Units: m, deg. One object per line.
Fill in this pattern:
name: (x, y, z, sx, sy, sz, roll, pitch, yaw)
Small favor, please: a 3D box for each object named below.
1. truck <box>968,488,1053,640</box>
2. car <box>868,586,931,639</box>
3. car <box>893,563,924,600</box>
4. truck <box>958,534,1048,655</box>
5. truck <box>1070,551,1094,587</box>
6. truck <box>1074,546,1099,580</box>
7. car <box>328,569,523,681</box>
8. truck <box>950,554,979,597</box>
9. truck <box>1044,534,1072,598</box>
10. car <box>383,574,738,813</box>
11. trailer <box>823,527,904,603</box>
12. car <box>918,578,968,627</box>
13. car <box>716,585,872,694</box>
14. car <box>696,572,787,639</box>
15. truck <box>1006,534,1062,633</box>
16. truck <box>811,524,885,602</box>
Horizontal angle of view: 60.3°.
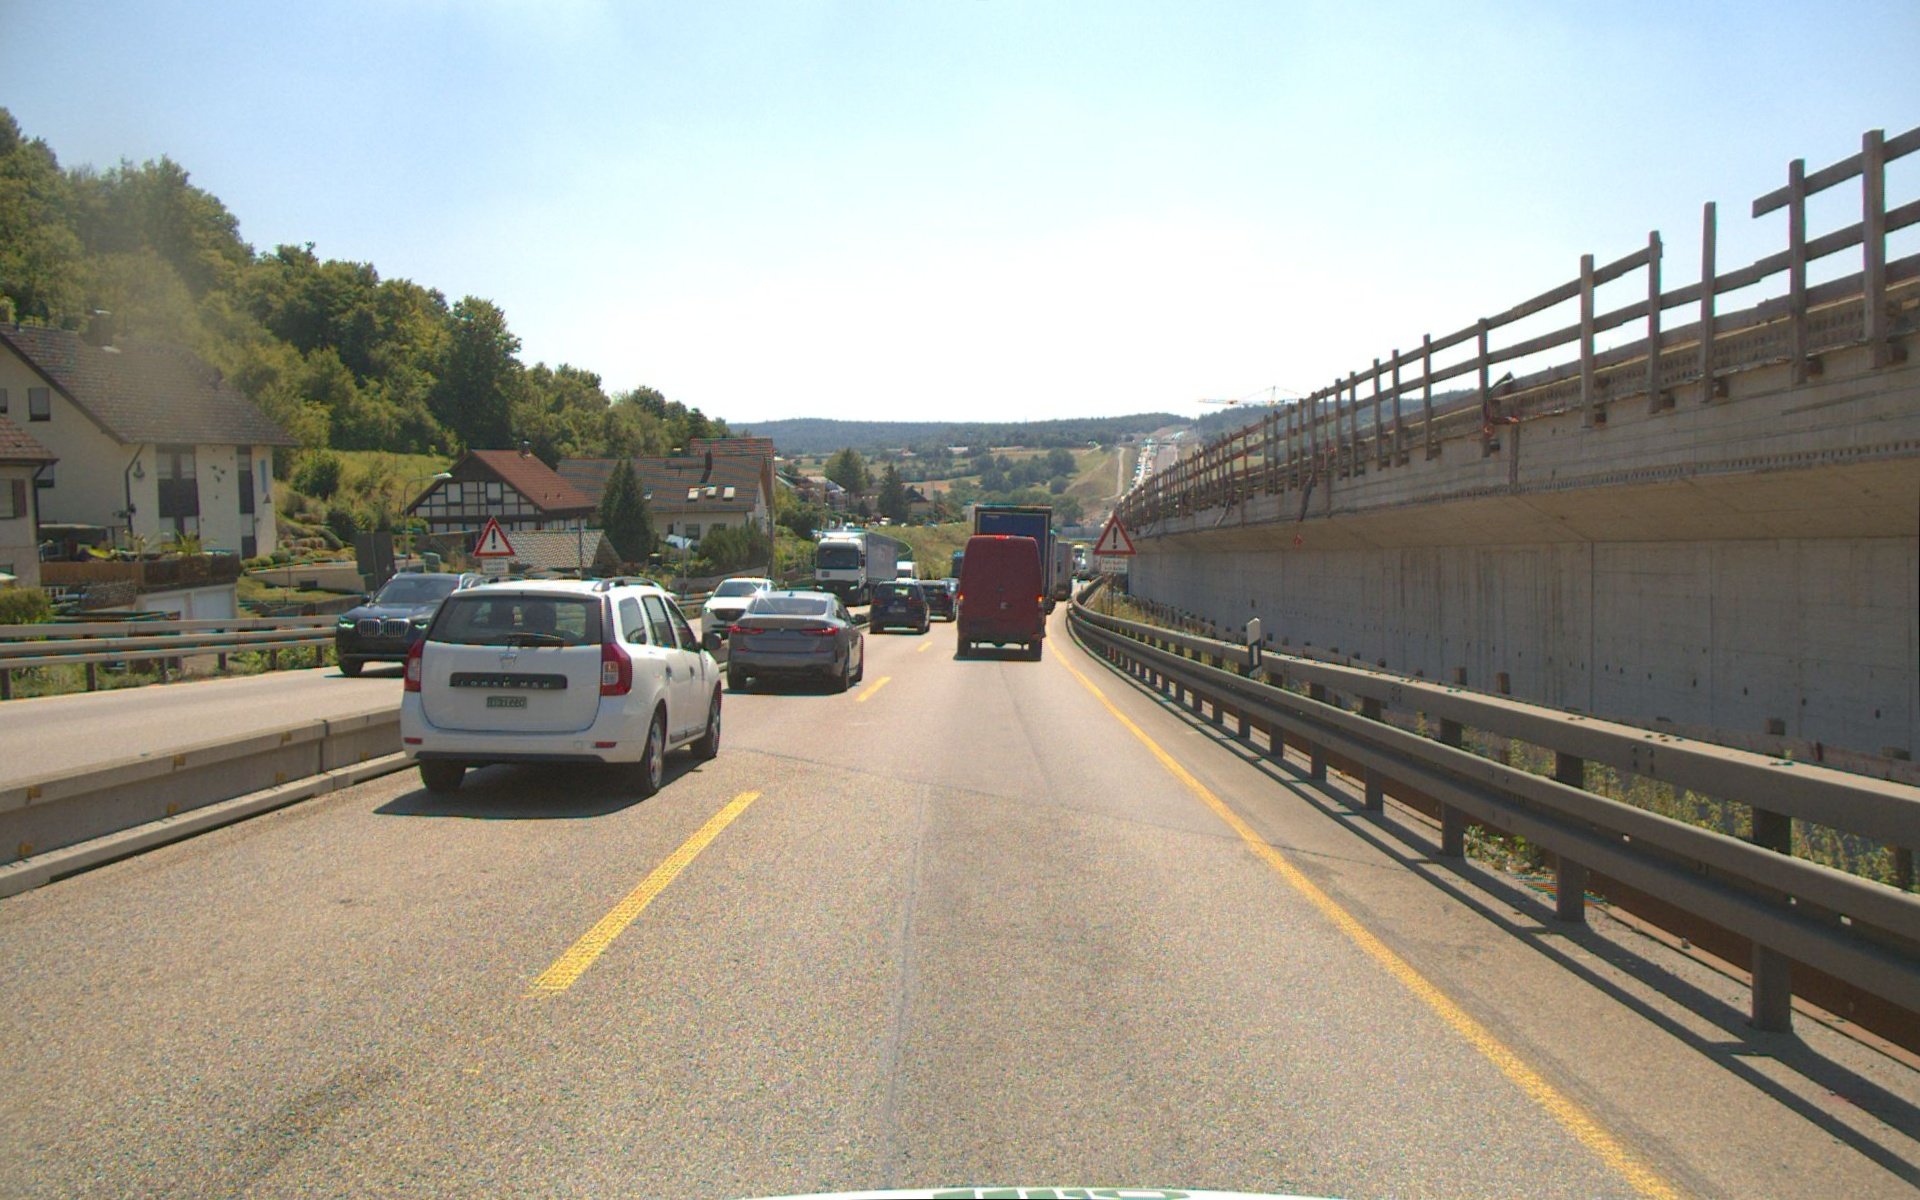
truck: (1.777, -1.119, 58.487, 2.728, 4.900, 9.686, 0, -1, 2)
car: (-1.924, 0.407, 53.371, 1.772, 1.636, 3.720, 1, -1, 2)
car: (-3.830, -1.379, 123.247, 1.964, 2.649, 5.981, 0, 1, 1)
truck: (0.965, -0.098, 38.023, 1.952, 2.624, 4.000, 1, -1, 1)
truck: (15.772, -3.959, 213.655, 3.004, 4.458, 8.561, 0, 0, 4)
truck: (18.048, -5.266, 235.760, 3.394, 4.458, 8.561, 0, -1, 4)
car: (-9.137, 0.422, 28.704, 1.867, 1.773, 4.661, 1, -1, 0)
truck: (0.445, -2.411, 165.071, 2.456, 4.034, 5.177, 1, -1, 4)
truck: (7.079, -2.415, 119.101, 1.951, 4.458, 4.002, 0, -1, 4)
car: (-2.899, 0.619, 12.930, 1.617, 1.509, 4.267, -2, 0, 1)
trailer: (-5.568, -2.015, 97.700, 3.069, 4.150, 11.826, 1, 1, 5)
car: (-0.635, 0.123, 65.208, 1.693, 1.870, 4.001, 0, -1, 3)
car: (-2.432, 0.553, 25.159, 1.757, 1.511, 4.051, 0, 0, 3)
car: (-5.921, 0.166, 45.293, 1.713, 1.716, 4.388, 0, -1, 3)
truck: (3.831, -0.759, 87.365, 2.728, 4.900, 9.686, 0, -1, 2)
truck: (-6.093, -1.998, 91.084, 3.069, 4.150, 6.883, 1, 1, 5)
